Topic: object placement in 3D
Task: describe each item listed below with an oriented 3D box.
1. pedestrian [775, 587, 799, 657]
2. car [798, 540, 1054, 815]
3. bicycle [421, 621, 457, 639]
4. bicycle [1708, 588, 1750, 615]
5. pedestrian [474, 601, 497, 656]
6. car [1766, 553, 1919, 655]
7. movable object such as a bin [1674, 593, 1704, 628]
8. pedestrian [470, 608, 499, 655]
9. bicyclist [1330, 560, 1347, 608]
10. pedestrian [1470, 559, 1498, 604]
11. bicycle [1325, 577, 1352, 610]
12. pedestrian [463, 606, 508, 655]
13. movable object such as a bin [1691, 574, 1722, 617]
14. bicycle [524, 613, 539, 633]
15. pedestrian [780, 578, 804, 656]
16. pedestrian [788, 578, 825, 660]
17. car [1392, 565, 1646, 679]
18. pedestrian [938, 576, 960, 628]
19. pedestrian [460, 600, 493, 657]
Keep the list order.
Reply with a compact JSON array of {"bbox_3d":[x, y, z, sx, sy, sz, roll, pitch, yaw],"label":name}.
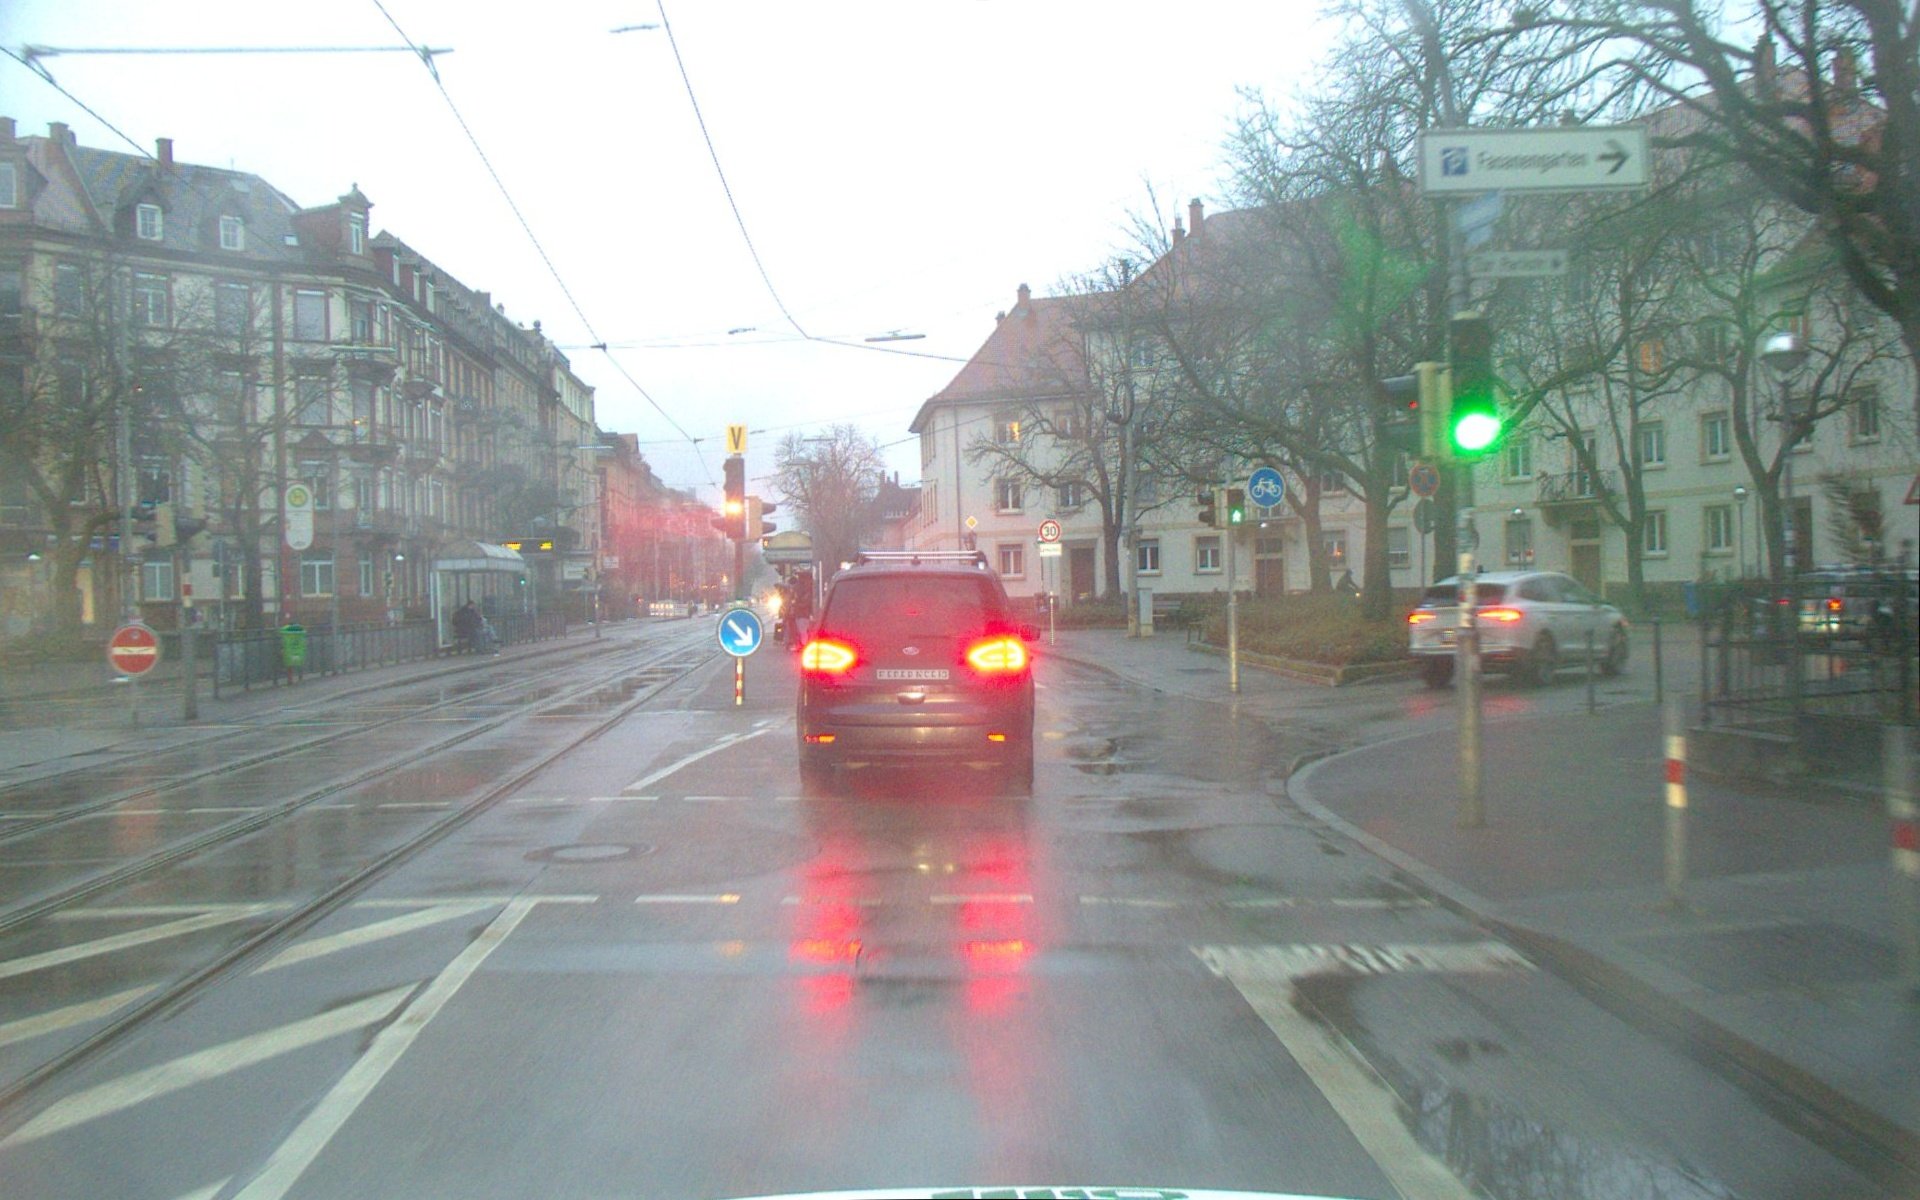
[{"bbox_3d":[-4.401,0.557,42.076,0.546,1.771,0.570,1,0,-5],"label":"pedestrian"},{"bbox_3d":[-0.365,0.554,13.665,1.766,1.903,4.015,1,0,-4],"label":"car"},{"bbox_3d":[-24.234,1.393,77.010,0.392,0.772,1.807,-1,0,30],"label":"bicycle"},{"bbox_3d":[23.320,0.041,50.202,0.332,0.779,1.586,-2,0,-8],"label":"bicycle"},{"bbox_3d":[-12.309,0.737,42.943,0.464,1.428,0.453,1,0,-6],"label":"pedestrian"},{"bbox_3d":[16.875,0.099,30.452,4.288,1.759,1.786,2,0,-34],"label":"car"},{"bbox_3d":[21.731,0.314,49.309,0.518,0.998,0.648,-2,0,-18],"label":"movable object such as a bin"},{"bbox_3d":[-12.824,0.839,44.605,0.640,1.239,0.516,1,0,-6],"label":"pedestrian"},{"bbox_3d":[15.426,-0.659,67.443,0.457,1.919,0.679,-2,0,-5],"label":"bicyclist"},{"bbox_3d":[20.123,-0.703,63.531,0.677,1.689,0.709,-2,0,-25],"label":"pedestrian"},{"bbox_3d":[15.448,-0.262,67.482,0.457,1.314,1.912,-2,0,-5],"label":"bicycle"},{"bbox_3d":[-12.647,0.821,44.084,1.035,1.276,0.506,1,0,-6],"label":"pedestrian"},{"bbox_3d":[21.974,-0.126,48.685,0.518,1.250,0.648,-2,0,-18],"label":"movable object such as a bin"},{"bbox_3d":[-22.590,1.218,87.221,0.408,1.024,1.847,-1,0,-4],"label":"bicycle"},{"bbox_3d":[-4.372,0.443,43.098,0.546,2.022,0.570,1,0,-5],"label":"pedestrian"},{"bbox_3d":[-3.767,0.472,40.656,0.837,1.990,0.570,1,0,-5],"label":"pedestrian"},{"bbox_3d":[8.419,0.328,24.650,1.866,1.536,4.724,1,0,42],"label":"car"},{"bbox_3d":[-0.414,0.071,62.791,0.700,1.951,0.689,1,0,6],"label":"pedestrian"},{"bbox_3d":[-12.416,0.733,42.477,0.671,1.428,0.577,1,0,-6],"label":"pedestrian"}]
